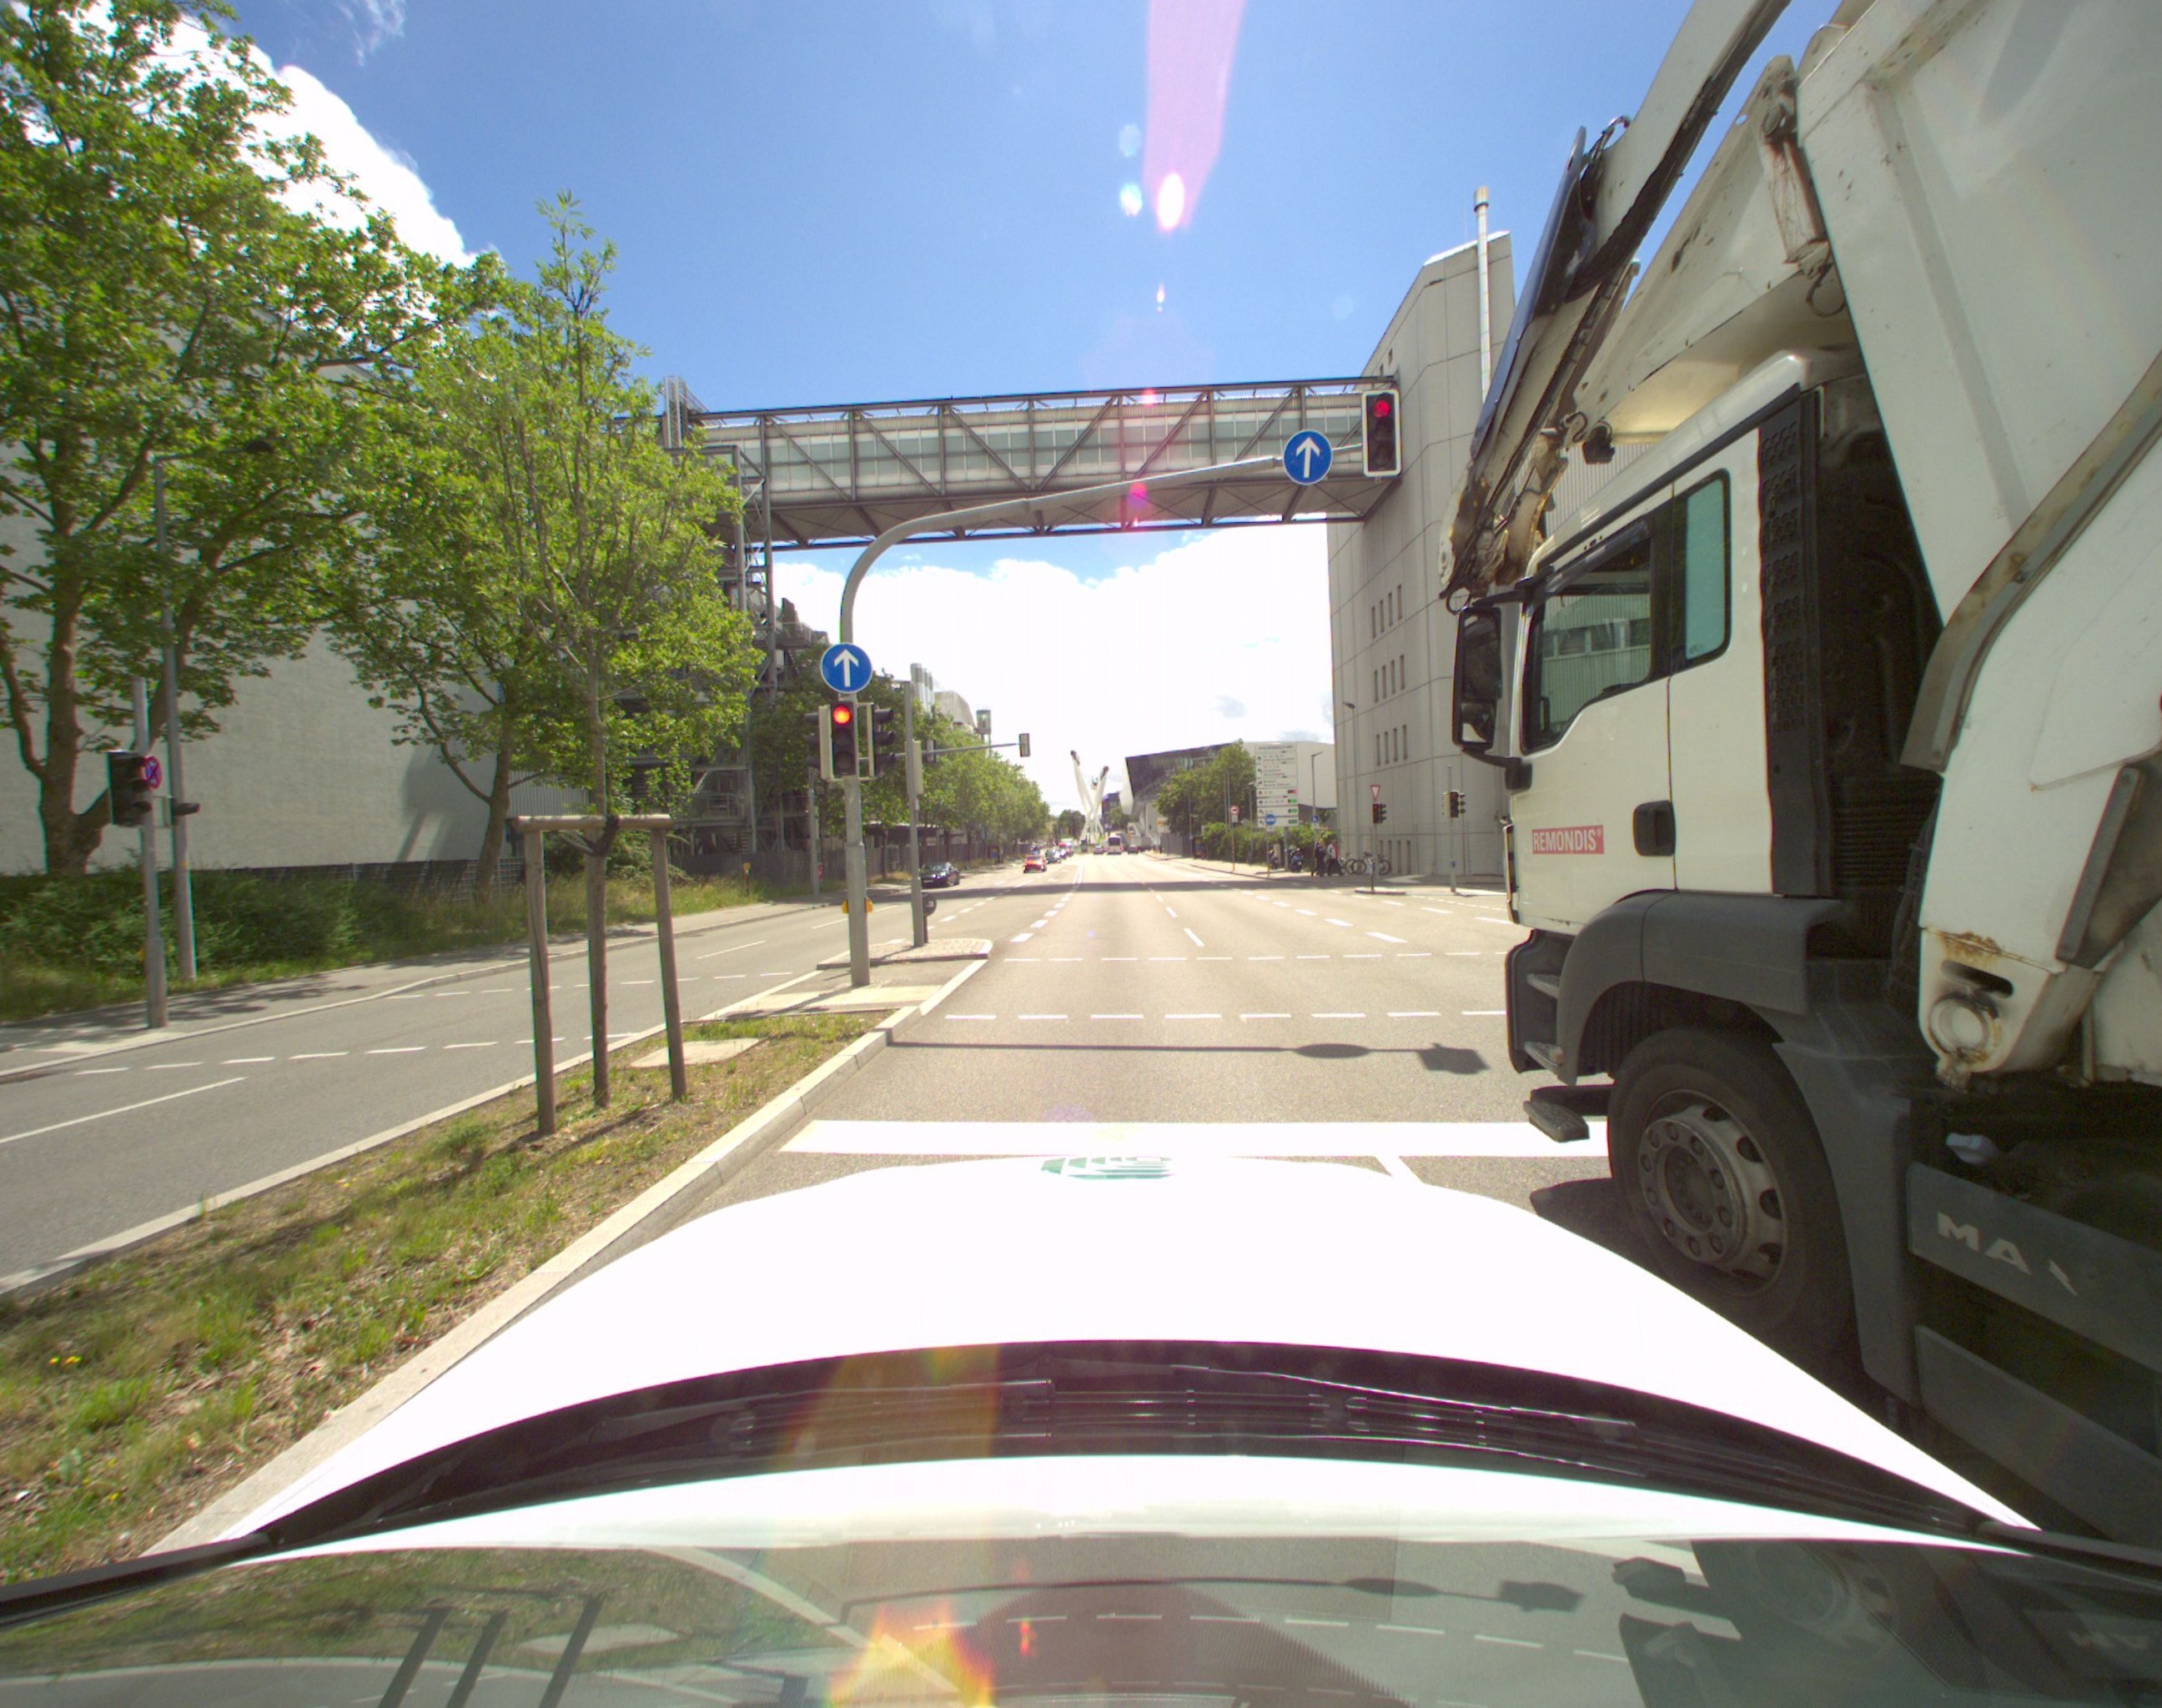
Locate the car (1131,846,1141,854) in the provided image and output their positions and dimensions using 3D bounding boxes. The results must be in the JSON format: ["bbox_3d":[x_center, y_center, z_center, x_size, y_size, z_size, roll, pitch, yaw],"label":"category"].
[{"bbox_3d":[9.897,-0.705,146.416,1.551,1.273,3.704,-4,0,3],"label":"car"}]

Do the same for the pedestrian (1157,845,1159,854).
[{"bbox_3d":[12.913,-0.781,136.345,0.384,1.421,0.424,0,-1,2],"label":"pedestrian"}]

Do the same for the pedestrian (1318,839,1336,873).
[{"bbox_3d":[12.105,0.110,40.090,0.536,1.640,0.652,0,-1,-27],"label":"pedestrian"}]

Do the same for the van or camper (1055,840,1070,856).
[{"bbox_3d":[-3.007,-0.958,134.488,2.038,2.466,5.598,-1,0,3],"label":"van or camper"}]

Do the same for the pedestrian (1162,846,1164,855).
[{"bbox_3d":[13.750,-0.628,136.483,0.384,1.421,0.424,0,-1,2],"label":"pedestrian"}]

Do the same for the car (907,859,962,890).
[{"bbox_3d":[-8.110,1.096,45.649,1.910,1.488,4.775,-4,0,3],"label":"car"}]

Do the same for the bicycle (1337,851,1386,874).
[{"bbox_3d":[13.523,0.399,39.355,2.196,1.086,0.480,-1,-1,37],"label":"bicycle"}]

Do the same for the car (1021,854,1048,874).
[{"bbox_3d":[-3.813,0.788,66.939,1.762,1.420,3.704,-4,0,3],"label":"car"}]

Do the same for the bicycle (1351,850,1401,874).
[{"bbox_3d":[13.863,0.388,38.352,2.166,1.086,0.480,-1,-1,37],"label":"bicycle"}]

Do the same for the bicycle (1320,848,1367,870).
[{"bbox_3d":[13.090,0.275,40.699,2.196,1.086,0.480,-1,-1,37],"label":"bicycle"}]

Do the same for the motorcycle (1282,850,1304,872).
[{"bbox_3d":[11.657,0.394,44.890,0.418,1.166,1.951,0,-1,-9],"label":"motorcycle"}]

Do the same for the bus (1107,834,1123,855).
[{"bbox_3d":[6.230,-1.777,149.524,2.776,3.686,6.947,0,-1,3],"label":"bus"}]

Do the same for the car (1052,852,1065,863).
[{"bbox_3d":[-3.215,0.439,118.652,1.551,1.448,3.775,-4,0,3],"label":"car"}]

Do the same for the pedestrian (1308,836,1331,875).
[{"bbox_3d":[11.287,0.090,38.522,0.642,1.793,0.709,-4,0,-14],"label":"pedestrian"}]

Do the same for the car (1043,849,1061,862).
[{"bbox_3d":[-3.493,0.180,97.178,1.762,1.420,3.704,-4,0,3],"label":"car"}]

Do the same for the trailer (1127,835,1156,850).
[{"bbox_3d":[12.845,-2.320,172.131,3.291,2.995,10.429,-1,-1,21],"label":"trailer"}]

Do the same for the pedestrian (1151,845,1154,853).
[{"bbox_3d":[12.128,-0.883,137.739,0.384,1.421,0.424,0,-1,2],"label":"pedestrian"}]

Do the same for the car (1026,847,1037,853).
[{"bbox_3d":[-13.444,-1.135,222.655,1.544,1.273,3.719,-4,0,19],"label":"car"}]

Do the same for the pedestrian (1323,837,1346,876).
[{"bbox_3d":[12.034,0.104,38.704,0.692,1.793,0.709,-4,0,-14],"label":"pedestrian"}]

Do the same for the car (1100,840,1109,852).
[{"bbox_3d":[4.872,-1.663,171.315,1.837,2.624,4.000,0,-1,1],"label":"car"}]

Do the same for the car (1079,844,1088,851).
[{"bbox_3d":[0.511,-1.269,155.990,1.551,1.273,3.704,-4,0,3],"label":"car"}]

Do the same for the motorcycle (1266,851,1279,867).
[{"bbox_3d":[12.181,0.334,51.867,0.455,1.022,1.914,0,-1,4],"label":"motorcycle"}]

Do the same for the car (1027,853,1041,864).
[{"bbox_3d":[-6.628,0.612,115.445,1.792,1.574,4.000,-1,0,0],"label":"car"}]

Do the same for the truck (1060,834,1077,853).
[{"bbox_3d":[-2.291,-1.872,150.368,2.581,3.324,7.083,0,-1,3],"label":"truck"}]

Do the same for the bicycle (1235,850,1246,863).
[{"bbox_3d":[12.733,0.172,65.125,0.417,1.022,1.911,0,-1,-2],"label":"bicycle"}]

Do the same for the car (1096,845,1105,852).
[{"bbox_3d":[3.598,-1.036,148.865,1.551,1.273,3.704,-4,0,3],"label":"car"}]
